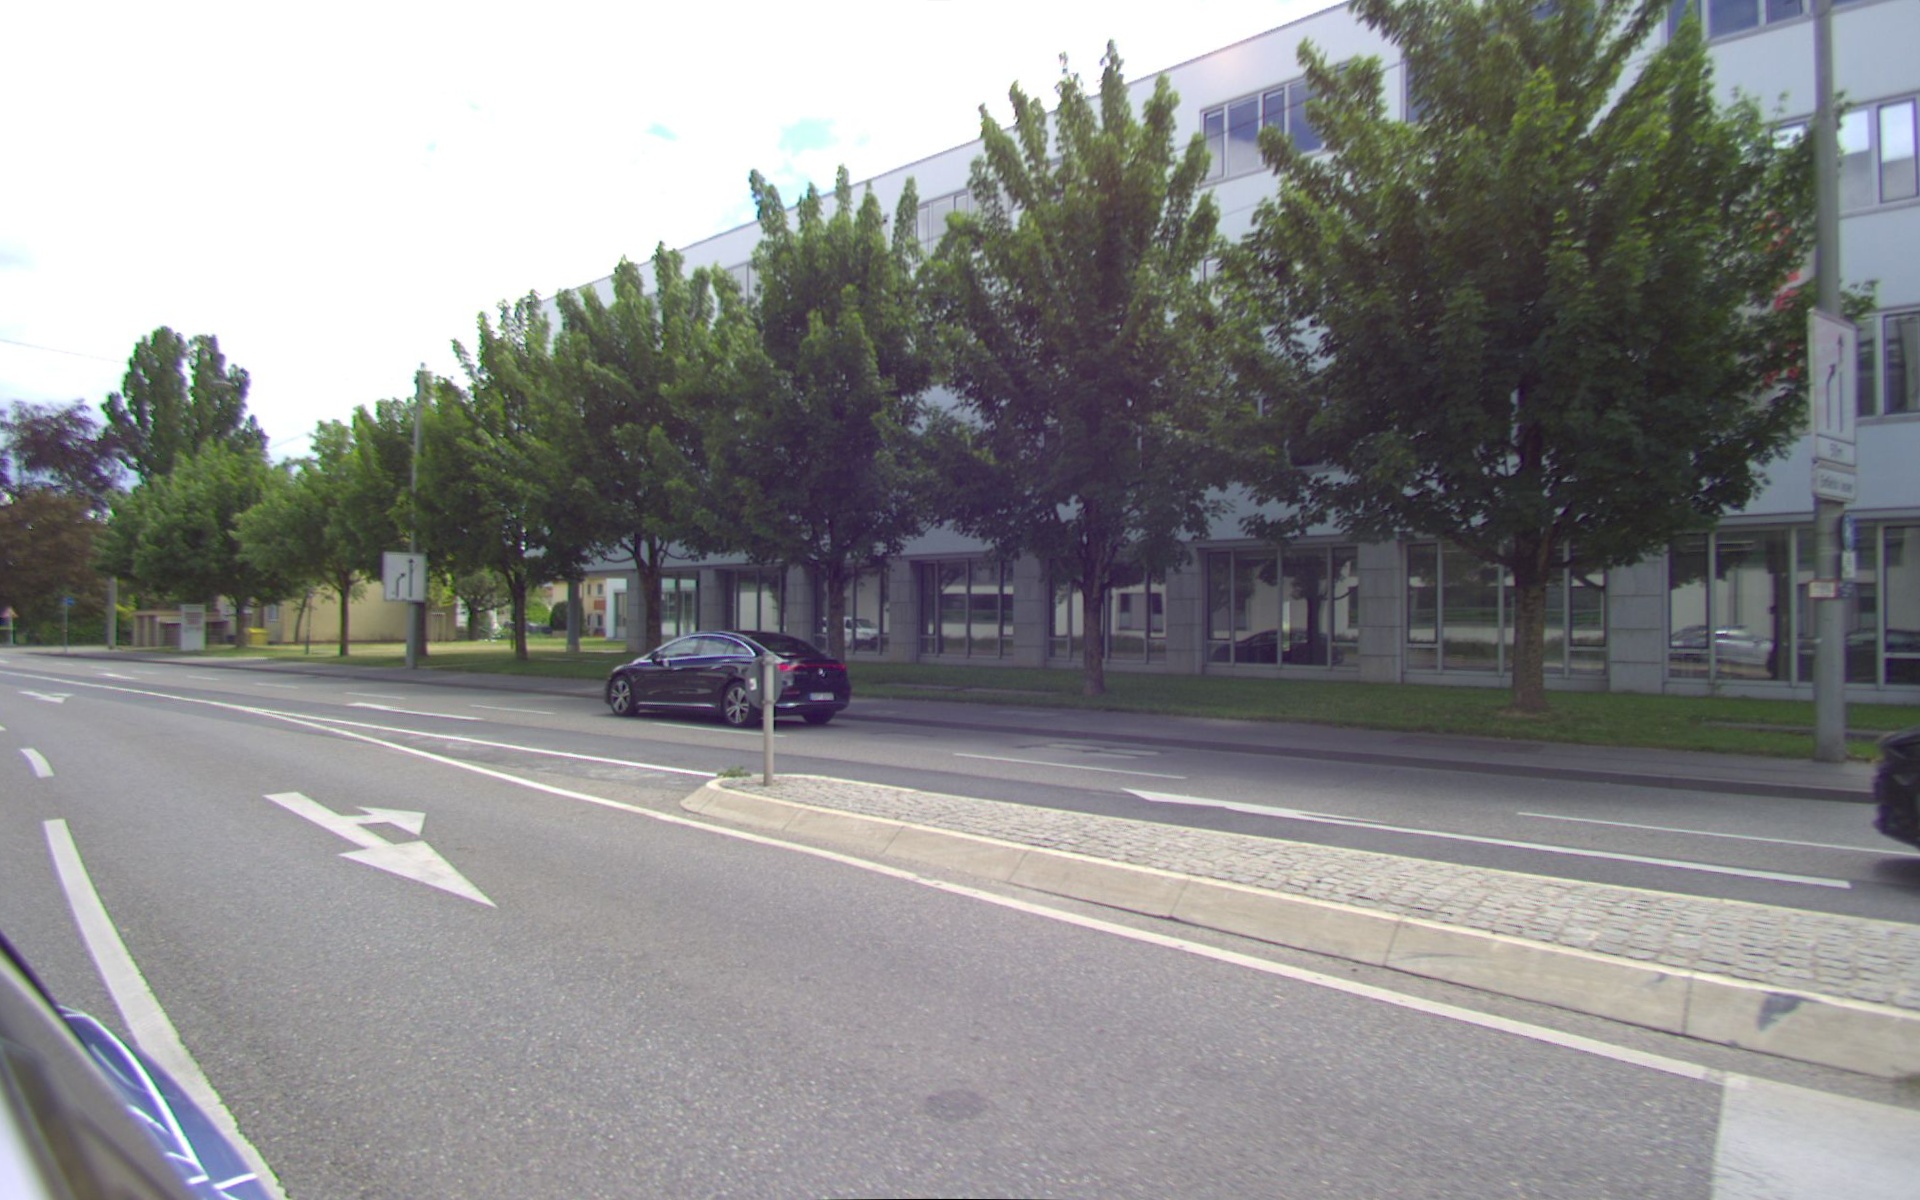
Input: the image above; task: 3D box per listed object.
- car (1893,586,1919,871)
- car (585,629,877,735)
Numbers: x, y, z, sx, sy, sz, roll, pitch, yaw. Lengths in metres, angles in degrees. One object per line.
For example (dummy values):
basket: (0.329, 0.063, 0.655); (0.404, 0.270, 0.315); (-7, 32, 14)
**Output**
car: (7.526, 0.739, 4.786); (4.539, 1.564, 1.865); (0, -2, 42)
car: (-3.941, 1.275, 16.946); (5.042, 1.456, 2.005); (0, -3, 38)
